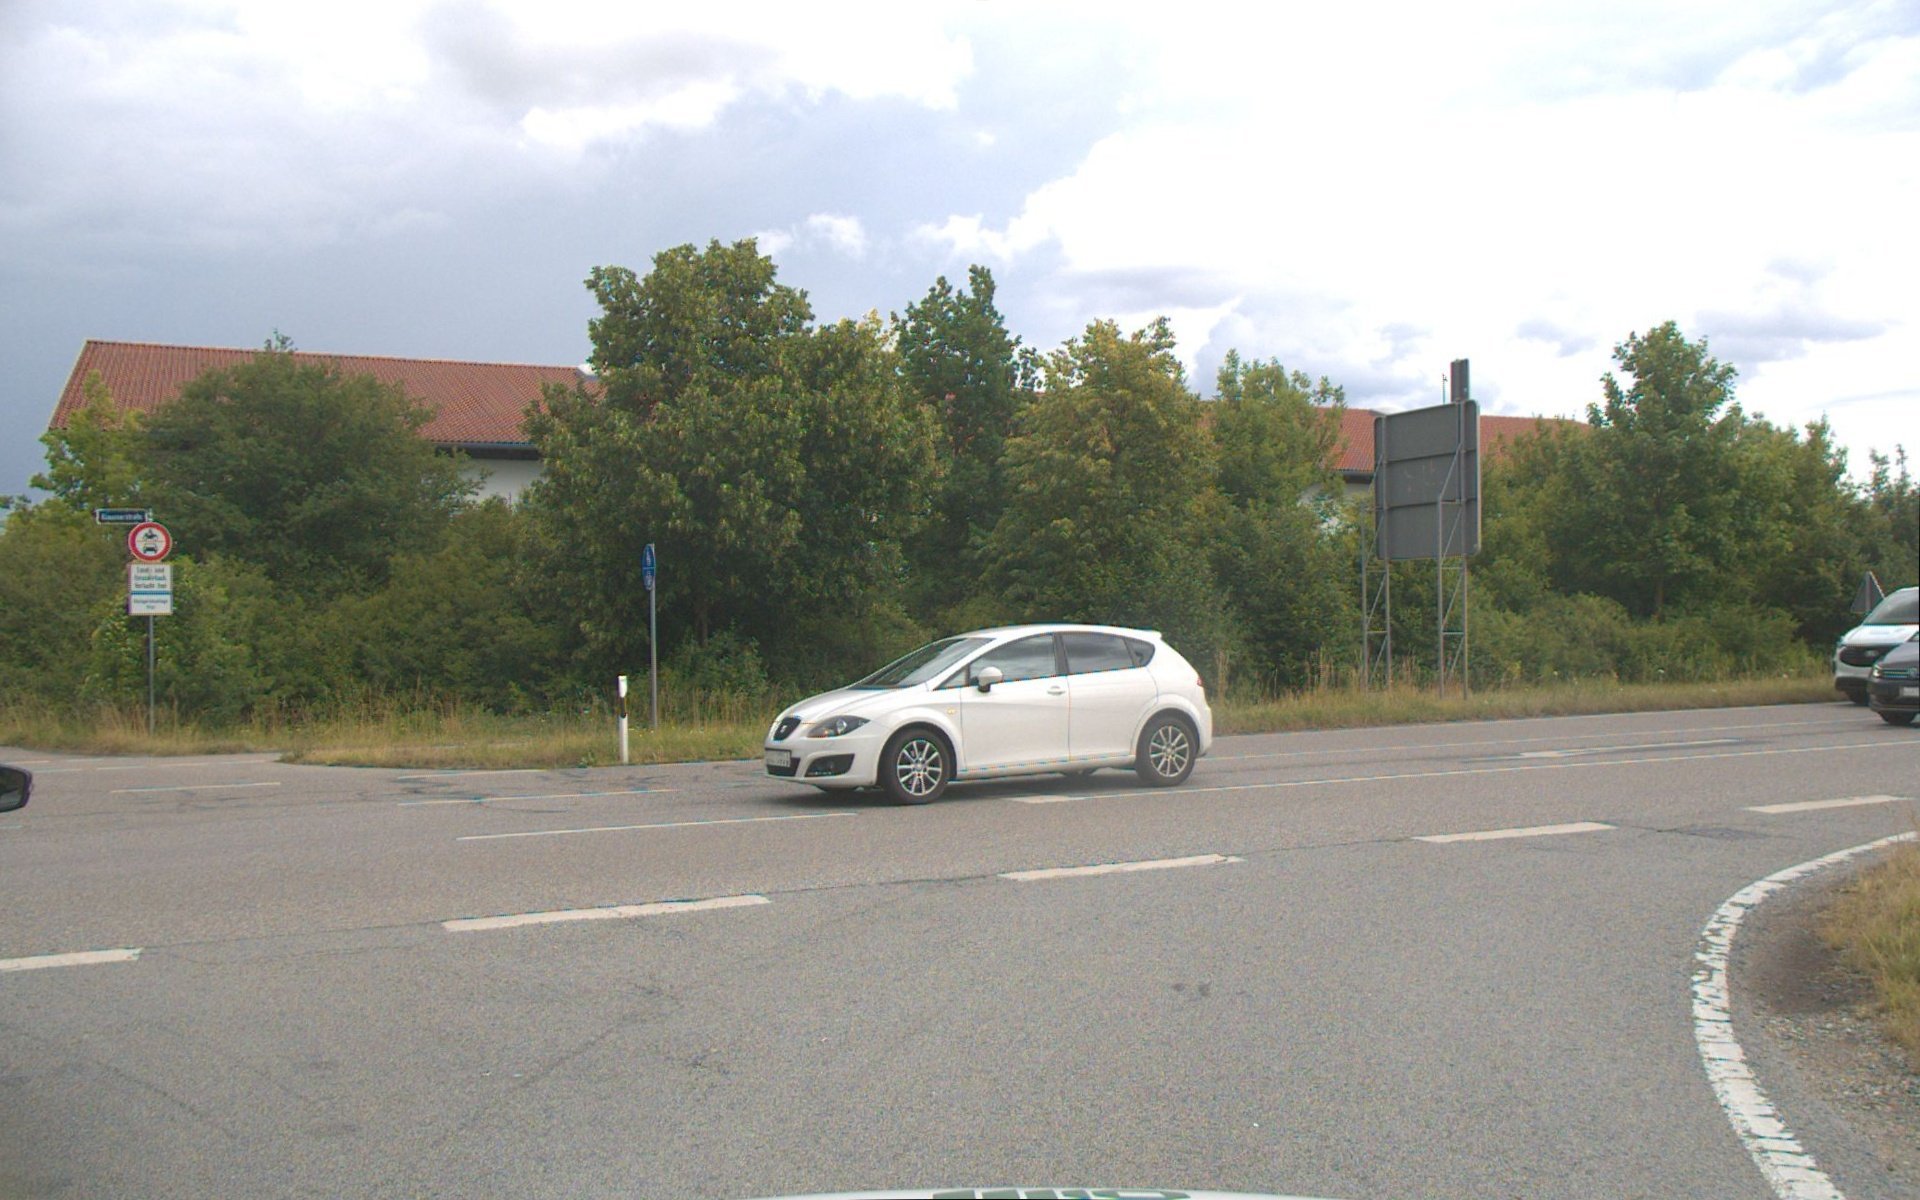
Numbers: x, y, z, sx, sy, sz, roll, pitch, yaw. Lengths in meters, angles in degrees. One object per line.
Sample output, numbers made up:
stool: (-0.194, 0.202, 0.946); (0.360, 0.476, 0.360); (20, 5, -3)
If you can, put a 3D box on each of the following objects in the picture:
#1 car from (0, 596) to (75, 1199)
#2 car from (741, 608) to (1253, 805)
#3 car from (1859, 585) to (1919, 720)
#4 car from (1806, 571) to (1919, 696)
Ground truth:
car: (-2.872, 0.744, 3.367); (1.696, 1.473, 4.073); (0, -1, -31)
car: (0.360, 0.871, 14.818); (4.249, 1.432, 1.804); (-2, -1, -28)
car: (13.955, 0.620, 21.597); (4.224, 1.687, 1.739); (-1, -2, -26)
car: (16.771, 0.492, 27.429); (5.306, 1.919, 2.095); (-1, -1, -26)
